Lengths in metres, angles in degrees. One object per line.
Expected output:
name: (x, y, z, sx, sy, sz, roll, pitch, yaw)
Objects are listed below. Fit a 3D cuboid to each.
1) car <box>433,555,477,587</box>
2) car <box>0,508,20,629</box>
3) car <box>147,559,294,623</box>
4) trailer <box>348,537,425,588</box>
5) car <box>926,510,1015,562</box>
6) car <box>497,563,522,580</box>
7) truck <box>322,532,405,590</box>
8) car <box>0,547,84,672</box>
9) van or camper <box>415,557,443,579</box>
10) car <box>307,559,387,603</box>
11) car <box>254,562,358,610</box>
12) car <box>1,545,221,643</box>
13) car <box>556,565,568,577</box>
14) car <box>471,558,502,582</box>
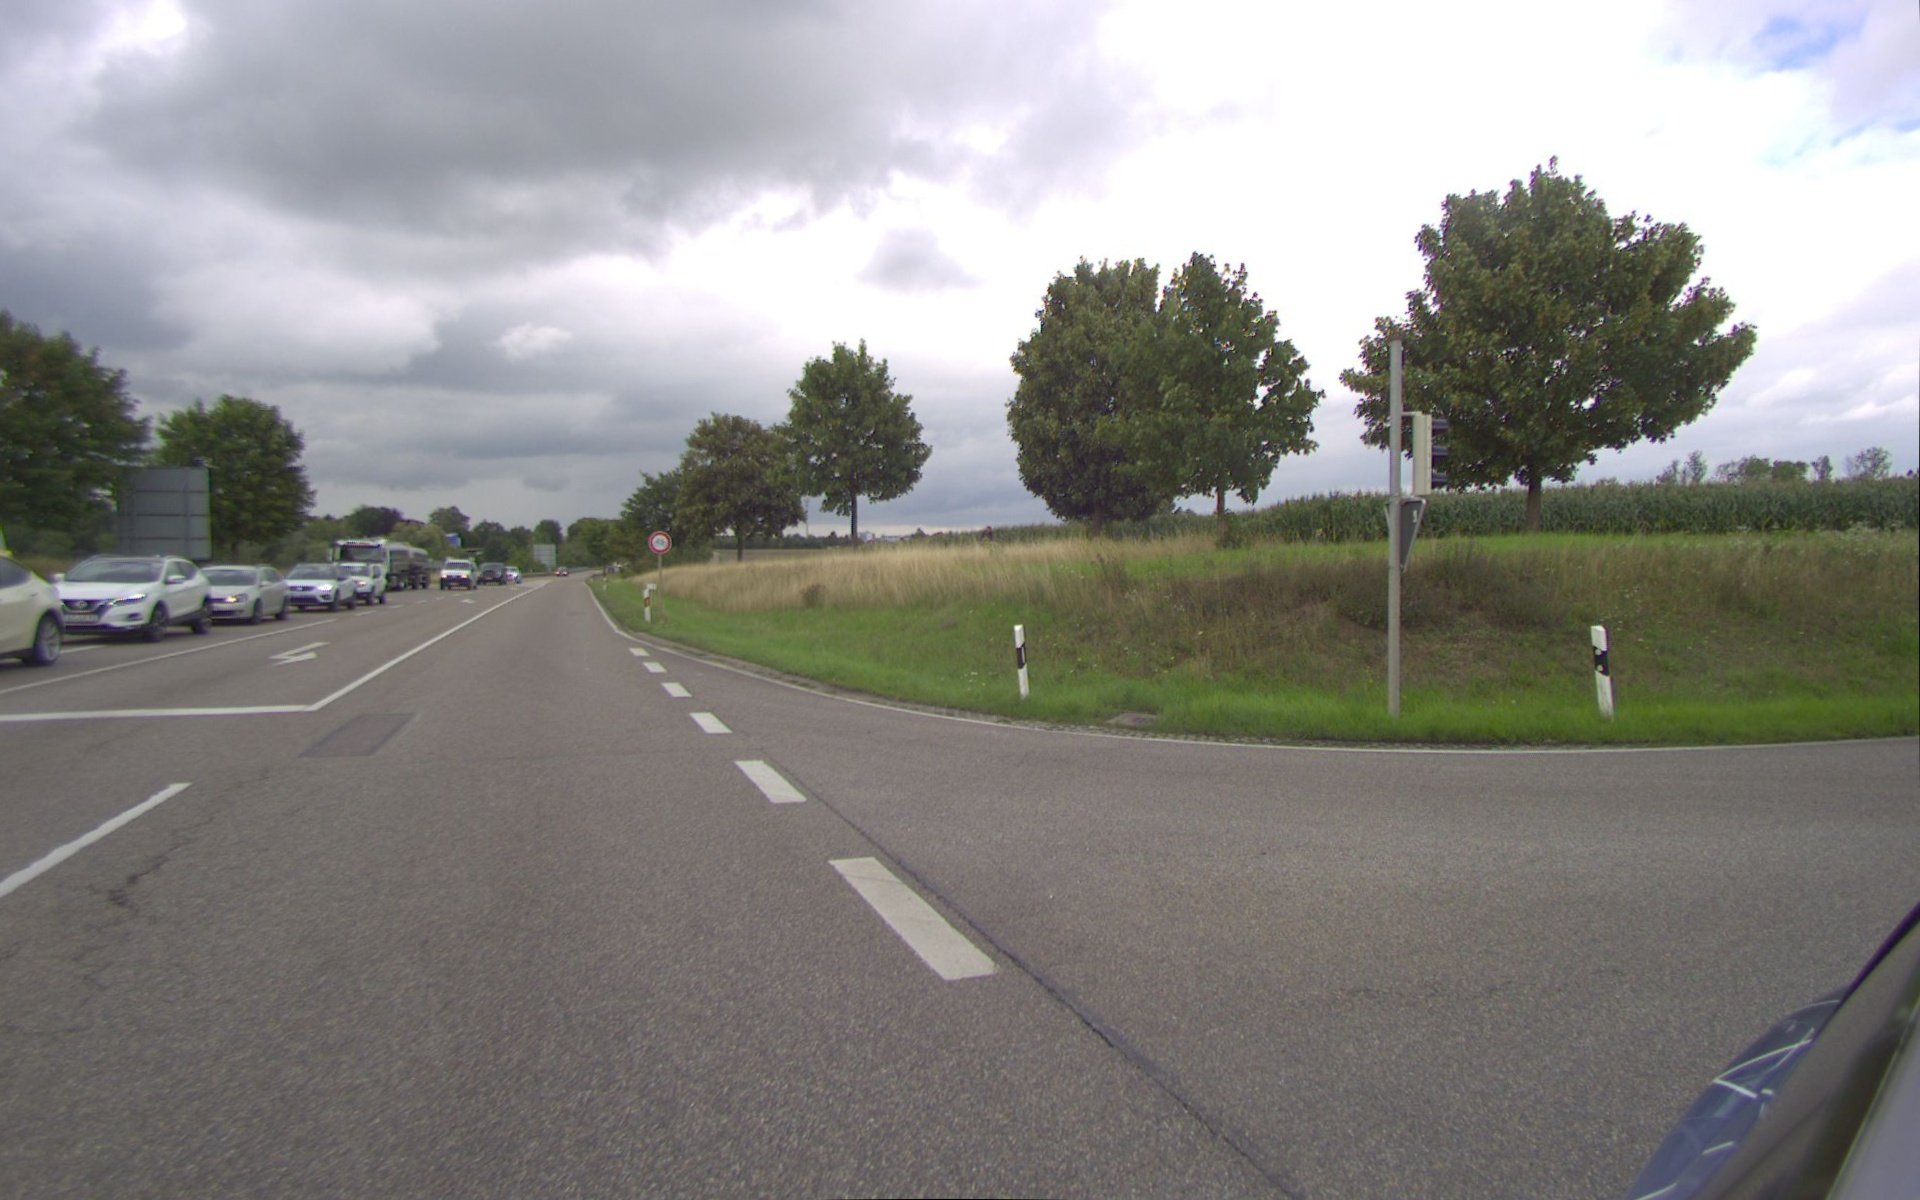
car: (-33.627, -1.957, 67.456, 2.124, 2.038, 4.691, 0, 2, -21)
car: (-19.979, -0.545, 18.362, 2.348, 2.471, 5.525, -2, 2, -21)
car: (-18.565, -0.280, 25.652, 1.958, 1.473, 4.591, 0, 2, -22)
trailer: (-38.028, -2.478, 67.486, 3.044, 3.129, 10.685, 0, 2, -22)
car: (0.385, -2.640, 42.337, 1.960, 2.038, 4.005, -3, 2, -29)
car: (-44.358, -2.778, 99.568, 2.125, 1.616, 4.765, 0, 2, -25)
truck: (-34.652, -2.221, 59.076, 3.044, 3.147, 7.423, 0, 2, -22)
car: (-13.146, 0.141, 12.564, 1.958, 1.584, 4.759, -2, 2, -22)
van or camper: (-52.542, -3.153, 100.223, 1.958, 2.038, 4.009, -2, 2, -21)
car: (-23.482, -0.760, 38.949, 1.958, 1.612, 4.456, 0, 2, -22)
car: (-21.293, -0.495, 33.151, 1.958, 1.436, 4.457, 0, 2, -21)
car: (-16.199, -0.194, 19.623, 1.958, 1.649, 4.332, -2, 2, -22)
car: (-70.591, -5.182, 179.468, 1.958, 2.038, 4.513, 0, 2, -22)
car: (-41.159, -2.626, 88.099, 2.124, 2.038, 4.537, 0, 2, -21)
